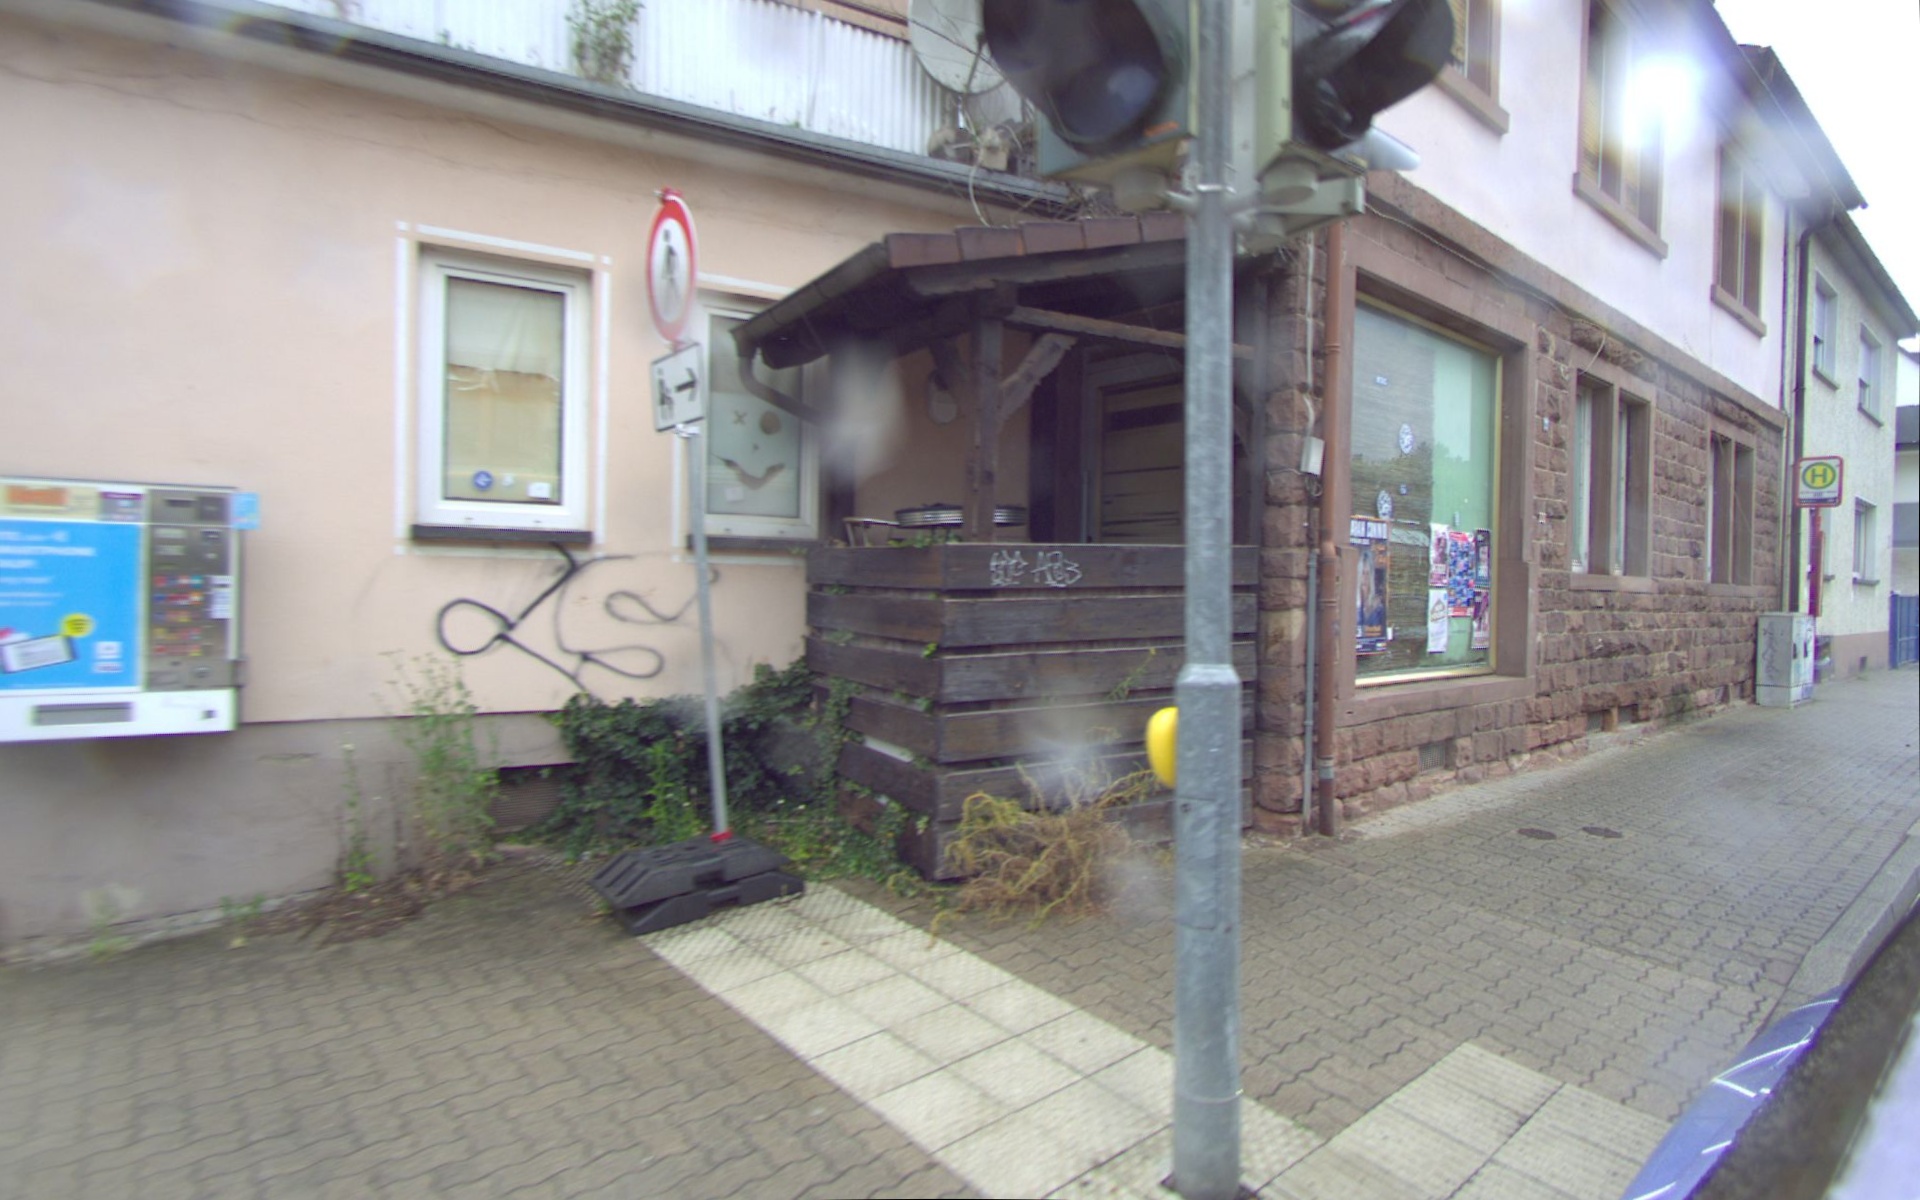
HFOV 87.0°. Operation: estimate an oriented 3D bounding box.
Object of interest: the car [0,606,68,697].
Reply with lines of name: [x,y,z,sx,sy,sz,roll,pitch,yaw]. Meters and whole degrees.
car: [-18.078,0.930,18.193,1.959,1.590,4.103,-1,0,-25]
